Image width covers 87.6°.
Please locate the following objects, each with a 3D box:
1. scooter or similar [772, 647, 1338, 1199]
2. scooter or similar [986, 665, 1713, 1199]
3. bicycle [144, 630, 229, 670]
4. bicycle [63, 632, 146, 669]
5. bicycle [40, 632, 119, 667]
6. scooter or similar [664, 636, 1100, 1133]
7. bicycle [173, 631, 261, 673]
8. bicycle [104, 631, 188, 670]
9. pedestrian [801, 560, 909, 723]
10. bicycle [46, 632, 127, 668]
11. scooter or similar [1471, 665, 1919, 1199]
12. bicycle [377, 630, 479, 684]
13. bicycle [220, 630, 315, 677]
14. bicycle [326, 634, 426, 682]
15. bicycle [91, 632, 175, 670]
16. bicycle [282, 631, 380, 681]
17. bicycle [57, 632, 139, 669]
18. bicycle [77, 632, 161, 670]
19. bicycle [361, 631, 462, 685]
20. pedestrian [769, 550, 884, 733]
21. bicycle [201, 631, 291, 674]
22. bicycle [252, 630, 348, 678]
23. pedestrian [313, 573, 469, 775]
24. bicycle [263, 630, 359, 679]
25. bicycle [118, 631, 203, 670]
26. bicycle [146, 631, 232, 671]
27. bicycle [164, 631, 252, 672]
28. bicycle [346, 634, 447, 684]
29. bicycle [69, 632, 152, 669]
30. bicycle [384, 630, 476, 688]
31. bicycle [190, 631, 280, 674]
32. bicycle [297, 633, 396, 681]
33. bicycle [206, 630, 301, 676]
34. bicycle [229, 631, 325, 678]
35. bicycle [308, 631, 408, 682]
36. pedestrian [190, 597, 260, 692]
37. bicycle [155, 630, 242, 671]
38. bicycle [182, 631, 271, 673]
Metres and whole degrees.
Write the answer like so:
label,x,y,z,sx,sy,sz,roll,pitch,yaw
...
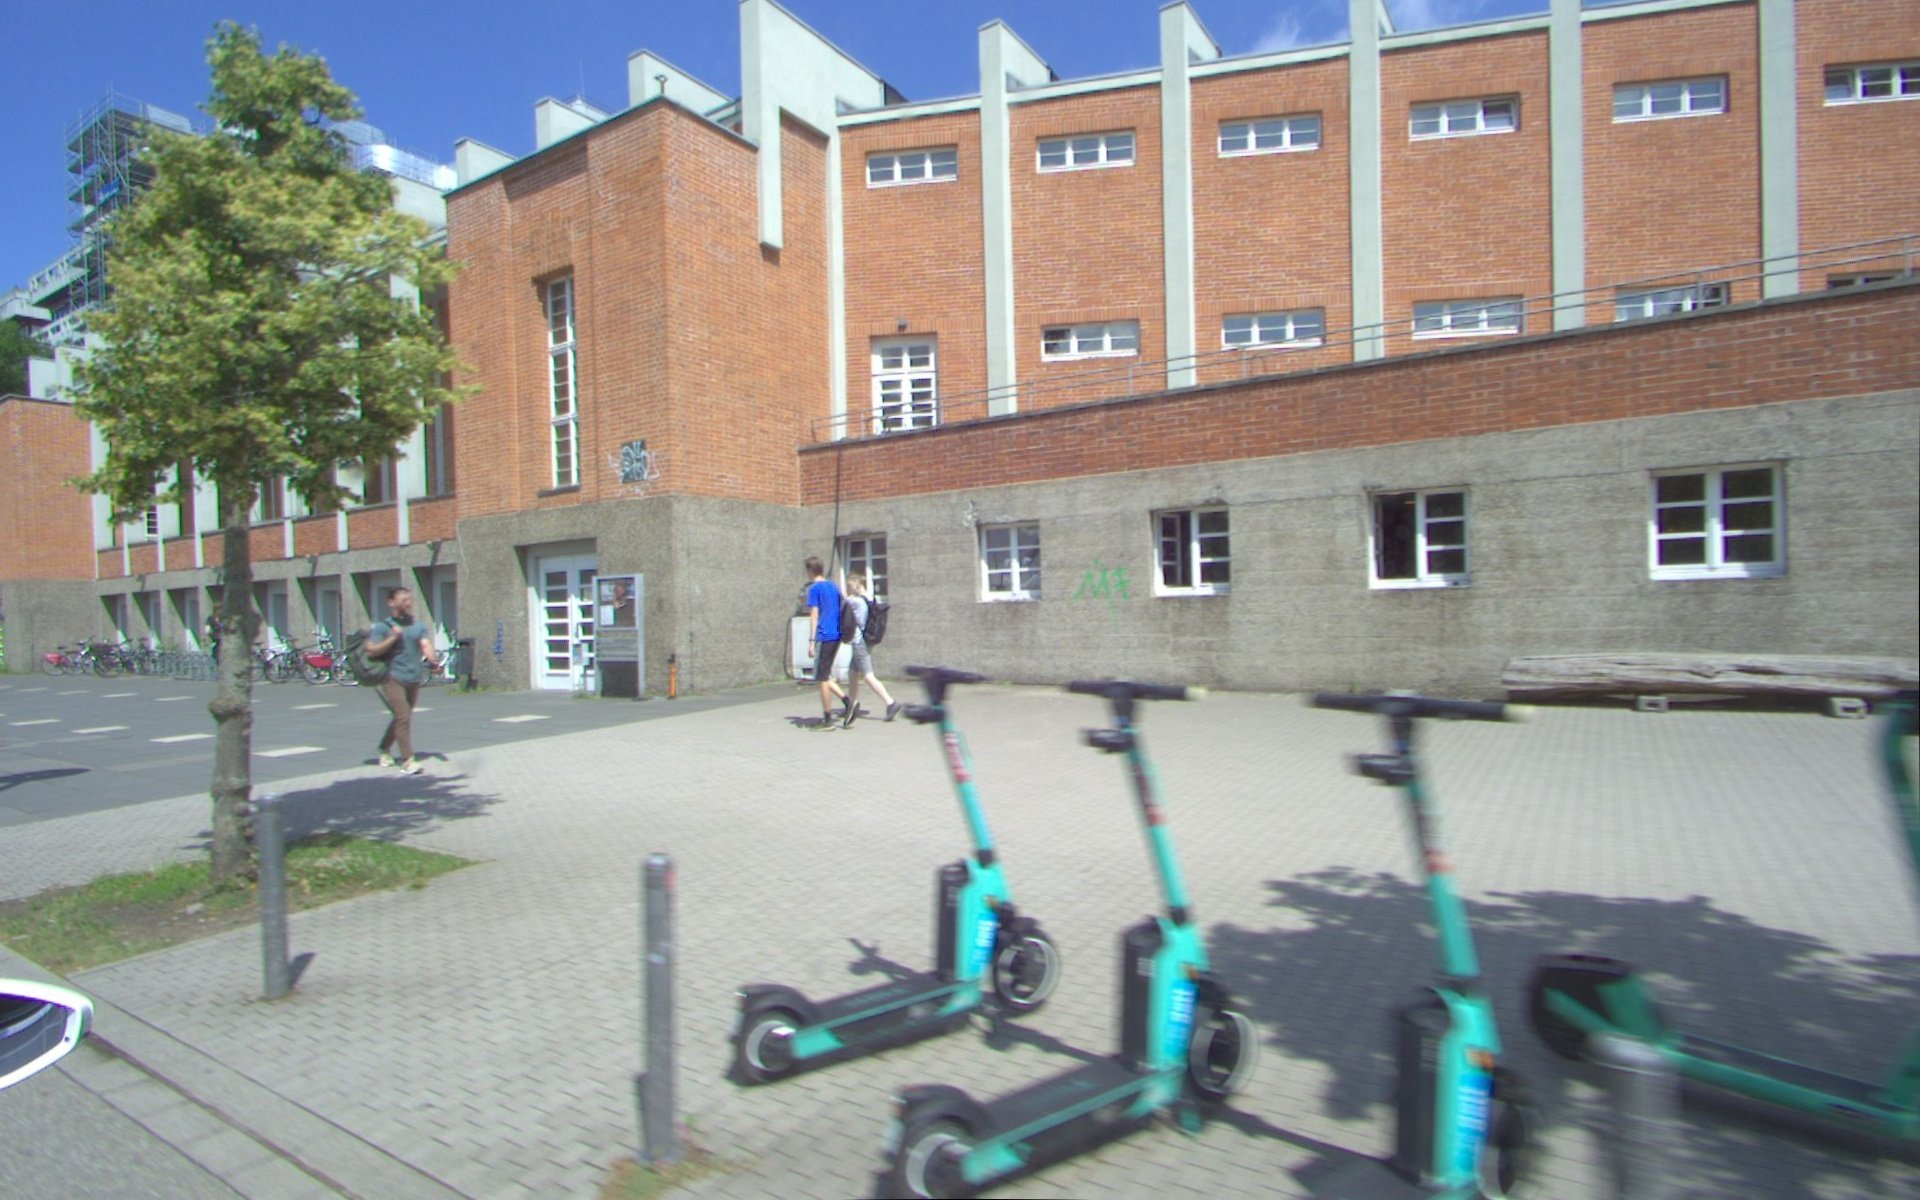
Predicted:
label,x,y,z,sx,sy,sz,roll,pitch,yaw
scooter or similar,0.232,0.792,2.521,1.244,1.282,0.648,-1,0,-25
scooter or similar,0.761,0.812,1.978,1.244,1.282,0.648,-1,0,-25
bicycle,-22.001,1.414,28.533,0.552,0.998,1.804,-1,1,33
bicycle,-26.113,1.527,30.594,0.552,0.998,1.804,-1,1,33
bicycle,-28.290,1.574,32.194,0.552,0.998,1.804,-1,1,33
scooter or similar,-0.256,0.785,3.238,1.244,1.282,0.637,-1,0,-25
bicycle,-20.006,1.377,26.995,0.552,0.998,1.804,-1,1,33
bicycle,-23.740,1.459,29.233,0.552,0.998,1.804,-1,1,33
pedestrian,-1.226,0.465,11.753,0.977,1.829,0.701,-1,3,24
bicycle,-27.540,1.556,31.606,0.552,0.998,1.804,-1,1,33
scooter or similar,2.119,0.793,2.607,0.643,1.176,1.254,-2,0,-41
bicycle,-10.917,1.156,20.617,0.552,0.982,1.786,-1,1,33
bicycle,-16.912,1.289,24.480,0.552,0.998,1.804,-1,1,33
bicycle,-12.656,1.240,21.750,0.552,0.924,1.804,-1,1,33
bicycle,-24.346,1.481,29.515,0.552,0.998,1.804,-1,1,33
bicycle,-14.347,1.254,22.883,0.552,0.998,1.804,-1,1,33
bicycle,-26.635,1.546,30.972,0.552,0.998,1.804,-1,1,33
bicycle,-25.073,1.514,29.896,0.552,0.998,1.804,-1,1,33
bicycle,-11.449,1.189,20.963,0.552,0.991,1.779,-1,1,32
pedestrian,-1.464,0.437,11.036,0.977,1.918,0.701,-1,2,24
bicycle,-18.504,1.346,25.994,0.552,0.998,1.804,-1,1,33
bicycle,-15.750,1.269,23.938,0.552,0.998,1.804,-1,1,33
pedestrian,-5.340,0.652,9.399,1.145,1.756,0.850,-1,1,37
bicycle,-15.222,1.260,23.534,0.552,0.998,1.804,-1,1,33
bicycle,-23.139,1.442,29.013,0.552,0.998,1.804,-1,1,33
bicycle,-21.503,1.403,27.961,0.552,0.998,1.804,-1,1,33
bicycle,-20.498,1.382,27.316,0.552,0.998,1.804,-1,1,33
bicycle,-11.946,1.225,21.295,0.552,0.924,1.804,-1,1,33
bicycle,-25.662,1.513,30.267,0.552,0.998,1.804,-1,1,33
bicycle,-10.572,1.161,20.031,0.552,1.047,1.531,-1,1,33
bicycle,-19.016,1.355,26.295,0.552,0.998,1.804,-1,1,33
bicycle,-13.788,1.263,22.550,0.552,0.924,1.804,-1,1,33
bicycle,-17.446,1.298,24.761,0.552,0.998,1.804,-1,1,33
bicycle,-16.424,1.295,24.120,0.552,0.998,1.804,-1,1,33
bicycle,-13.223,1.222,22.050,0.552,0.998,1.804,-1,1,33
pedestrian,-15.007,0.889,20.446,1.101,1.884,0.787,-1,1,35
bicycle,-20.994,1.387,27.632,0.552,0.998,1.804,-1,1,33
bicycle,-19.489,1.363,26.630,0.552,0.998,1.804,-1,1,33
